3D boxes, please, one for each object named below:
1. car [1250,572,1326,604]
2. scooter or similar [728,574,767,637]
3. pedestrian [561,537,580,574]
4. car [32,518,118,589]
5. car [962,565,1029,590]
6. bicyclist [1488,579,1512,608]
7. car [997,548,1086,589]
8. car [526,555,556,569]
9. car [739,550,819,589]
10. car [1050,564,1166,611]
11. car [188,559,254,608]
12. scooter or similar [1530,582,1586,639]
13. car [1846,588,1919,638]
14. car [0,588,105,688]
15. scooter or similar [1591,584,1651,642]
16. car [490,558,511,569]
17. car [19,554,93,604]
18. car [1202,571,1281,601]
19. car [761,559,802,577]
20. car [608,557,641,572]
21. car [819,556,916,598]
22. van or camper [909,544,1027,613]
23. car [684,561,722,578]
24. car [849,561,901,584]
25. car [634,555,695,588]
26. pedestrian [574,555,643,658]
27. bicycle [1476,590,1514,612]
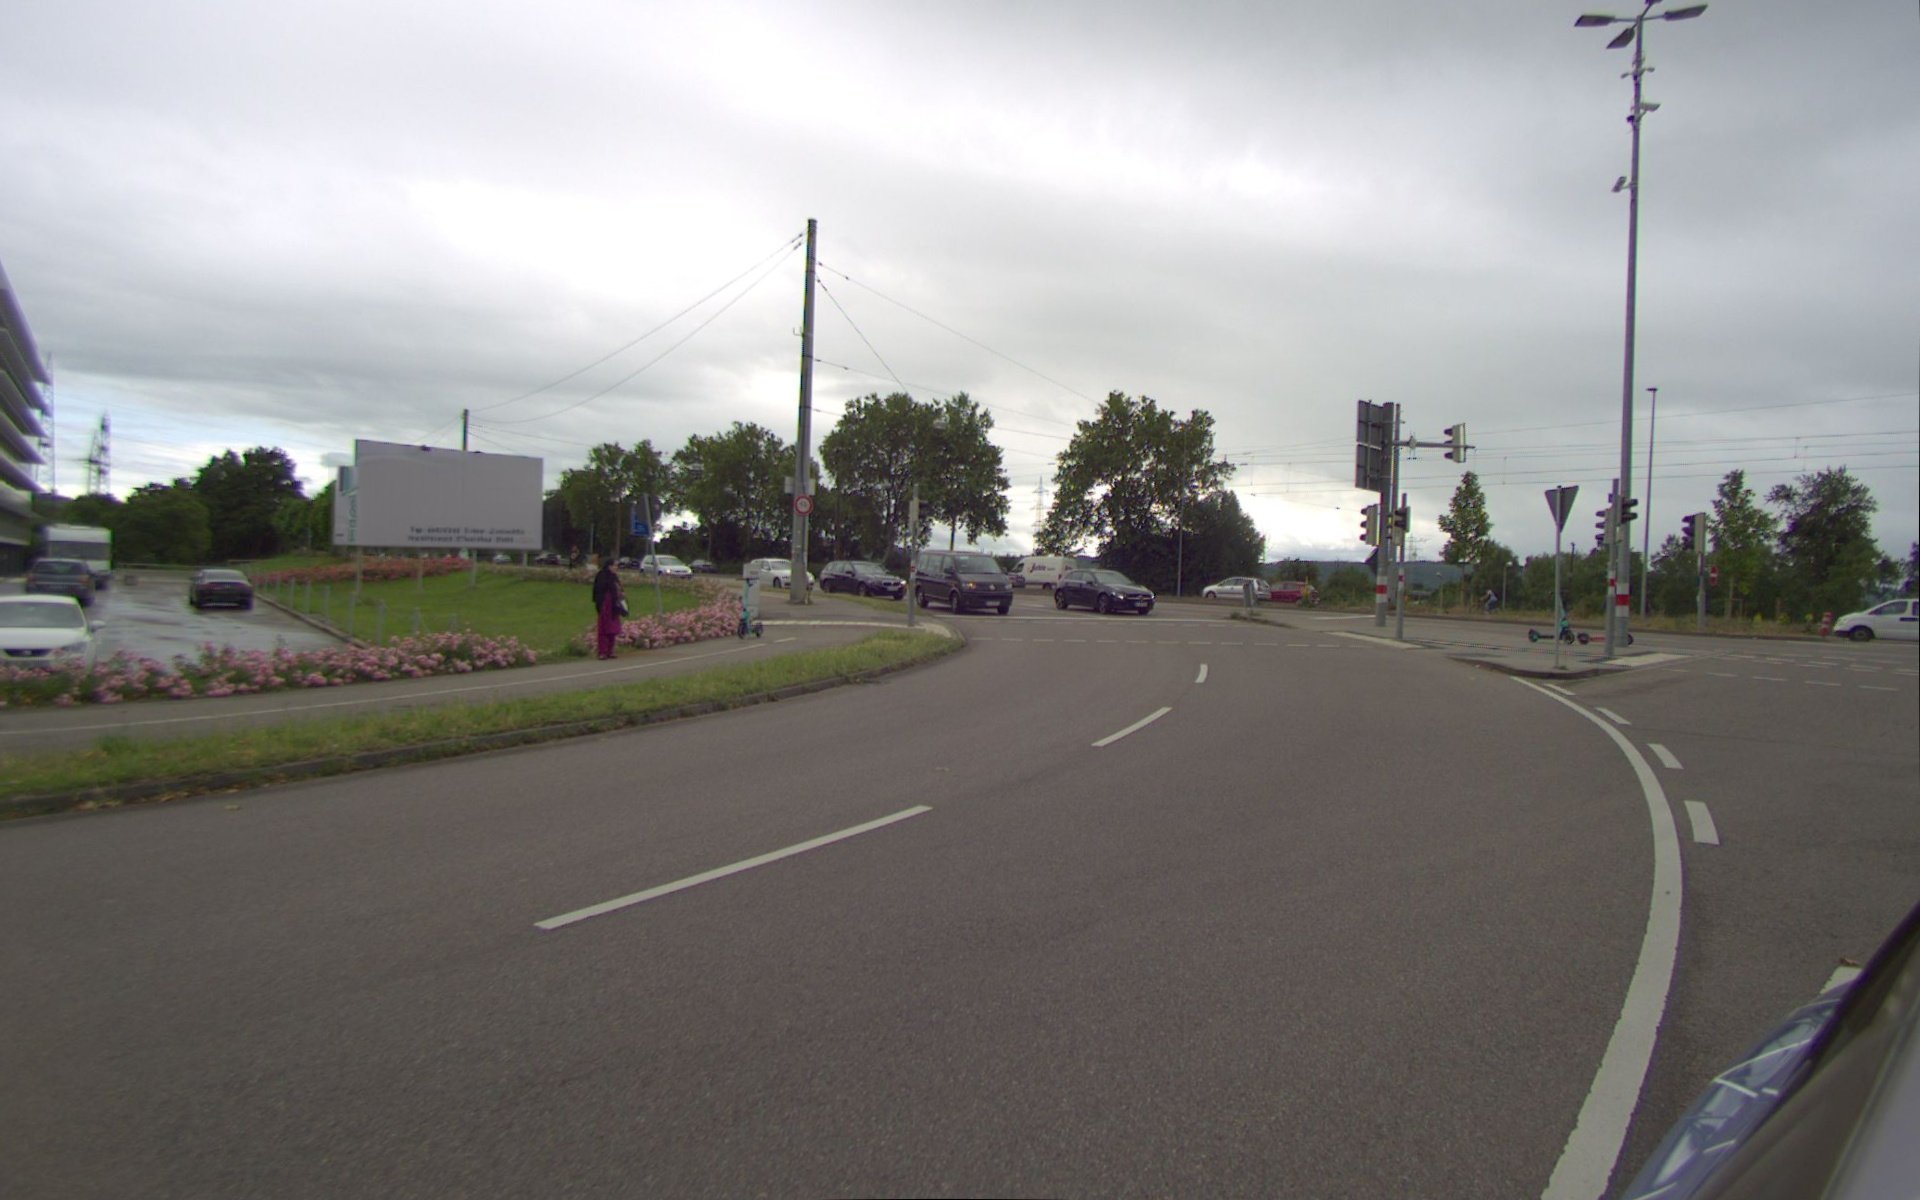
[{"bbox_3d":[18.558,-0.671,57.327,3.749,1.581,1.634,3,0,36],"label":"car"},{"bbox_3d":[-4.325,0.096,20.680,0.341,1.248,1.161,0,1,12],"label":"scooter or similar"},{"bbox_3d":[-19.120,-2.180,49.665,0.631,1.804,0.539,2,-1,38],"label":"pedestrian"},{"bbox_3d":[-42.392,-2.185,48.423,2.722,3.027,6.935,4,-1,-43],"label":"car"},{"bbox_3d":[2.349,-1.523,68.138,4.330,1.408,1.847,4,0,43],"label":"car"},{"bbox_3d":[28.739,-0.332,53.879,0.963,1.470,0.683,4,4,38],"label":"bicyclist"},{"bbox_3d":[5.742,-2.265,71.537,5.884,2.659,2.621,3,0,45],"label":"car"},{"bbox_3d":[-53.655,-4.913,129.424,4.300,1.657,1.810,3,1,42],"label":"car"},{"bbox_3d":[-8.235,-1.399,45.811,1.702,1.558,4.042,3,0,-40],"label":"car"},{"bbox_3d":[4.944,-0.454,34.396,1.800,1.482,4.214,1,1,-27],"label":"car"},{"bbox_3d":[-28.533,-0.664,39.025,1.880,1.778,3.997,0,1,-39],"label":"car"},{"bbox_3d":[14.051,0.242,23.810,0.314,1.271,1.118,-1,3,-26],"label":"scooter or similar"},{"bbox_3d":[39.139,0.599,40.757,5.102,1.903,2.068,3,0,42],"label":"car"},{"bbox_3d":[-15.759,0.577,17.153,1.842,1.464,4.114,3,-1,-41],"label":"car"},{"bbox_3d":[15.156,0.283,23.217,0.455,1.271,1.020,0,2,-26],"label":"scooter or similar"},{"bbox_3d":[-69.909,-5.555,153.917,1.790,1.499,3.663,4,-1,-43],"label":"car"},{"bbox_3d":[-32.139,-0.759,36.007,1.854,1.686,3.993,1,1,-42],"label":"car"},{"bbox_3d":[15.586,-0.793,56.136,3.837,1.436,1.657,3,0,43],"label":"car"},{"bbox_3d":[-16.731,-3.012,94.751,1.710,1.497,4.312,3,-1,-41],"label":"car"},{"bbox_3d":[-39.863,-4.246,120.166,4.303,1.581,1.833,3,-2,43],"label":"car"},{"bbox_3d":[-3.701,-0.936,39.829,1.931,1.482,4.324,1,2,-34],"label":"car"},{"bbox_3d":[0.169,-0.780,33.106,2.080,2.038,4.764,-1,3,-24],"label":"van or camper"},{"bbox_3d":[-25.328,-2.987,99.754,1.966,1.645,3.993,0,1,-42],"label":"car"},{"bbox_3d":[-6.490,-2.106,76.880,1.827,1.571,4.197,3,0,-39],"label":"car"},{"bbox_3d":[-16.235,-1.547,55.489,1.715,1.622,4.072,3,-1,-39],"label":"car"},{"bbox_3d":[-5.701,0.083,16.444,0.777,1.616,0.709,1,3,31],"label":"pedestrian"},{"bbox_3d":[28.574,0.056,54.093,1.700,1.058,0.541,4,4,38],"label":"bicycle"}]
